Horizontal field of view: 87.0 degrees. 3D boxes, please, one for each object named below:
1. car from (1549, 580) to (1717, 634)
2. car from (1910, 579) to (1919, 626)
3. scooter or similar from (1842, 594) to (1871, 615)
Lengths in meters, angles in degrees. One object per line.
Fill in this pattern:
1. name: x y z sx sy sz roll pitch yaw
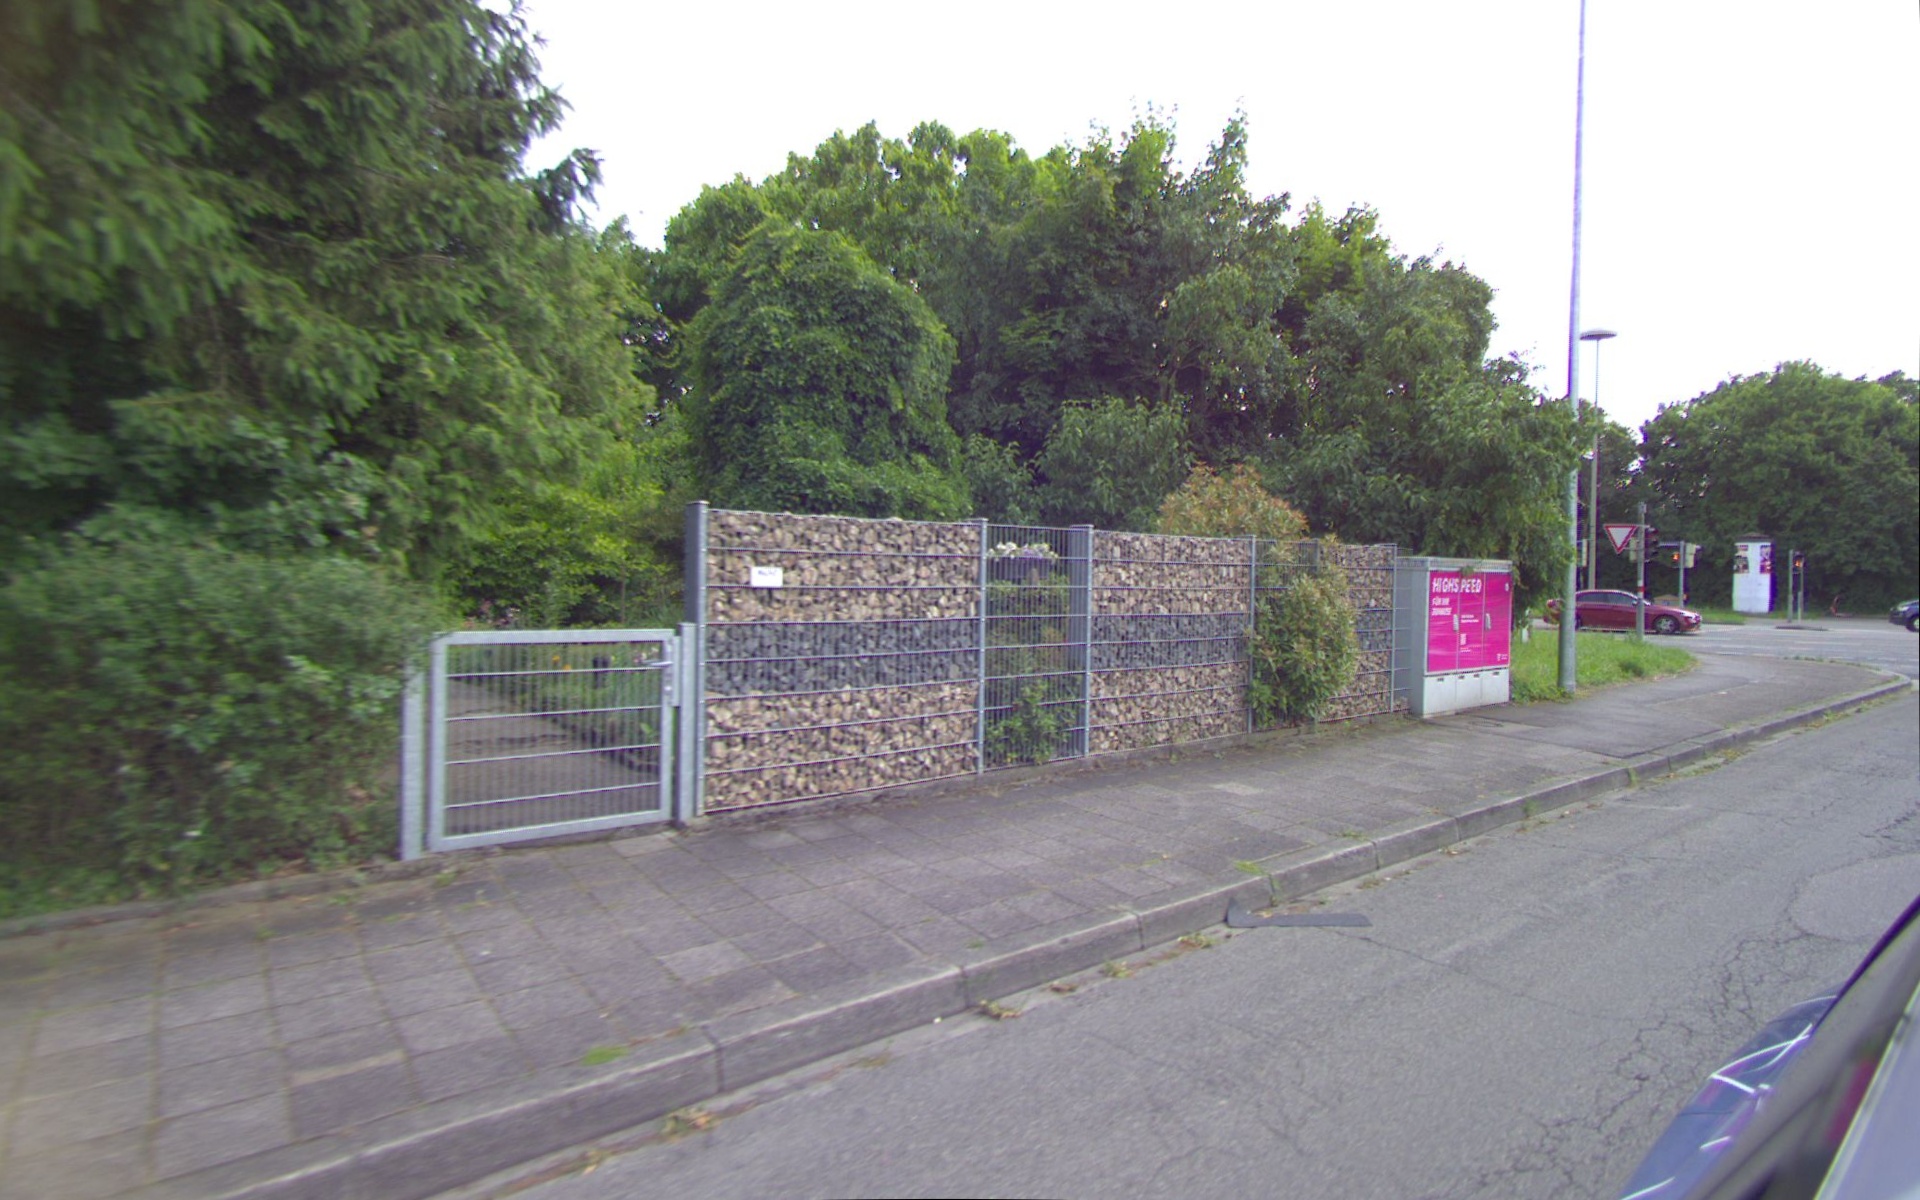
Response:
1. car: 22.528 0.192 33.968 4.515 1.480 1.705 4 5 40
2. car: 40.153 0.180 39.129 4.794 1.880 1.746 3 2 40
3. scooter or similar: 45.504 0.222 51.393 0.292 0.953 1.034 -2 5 -43
